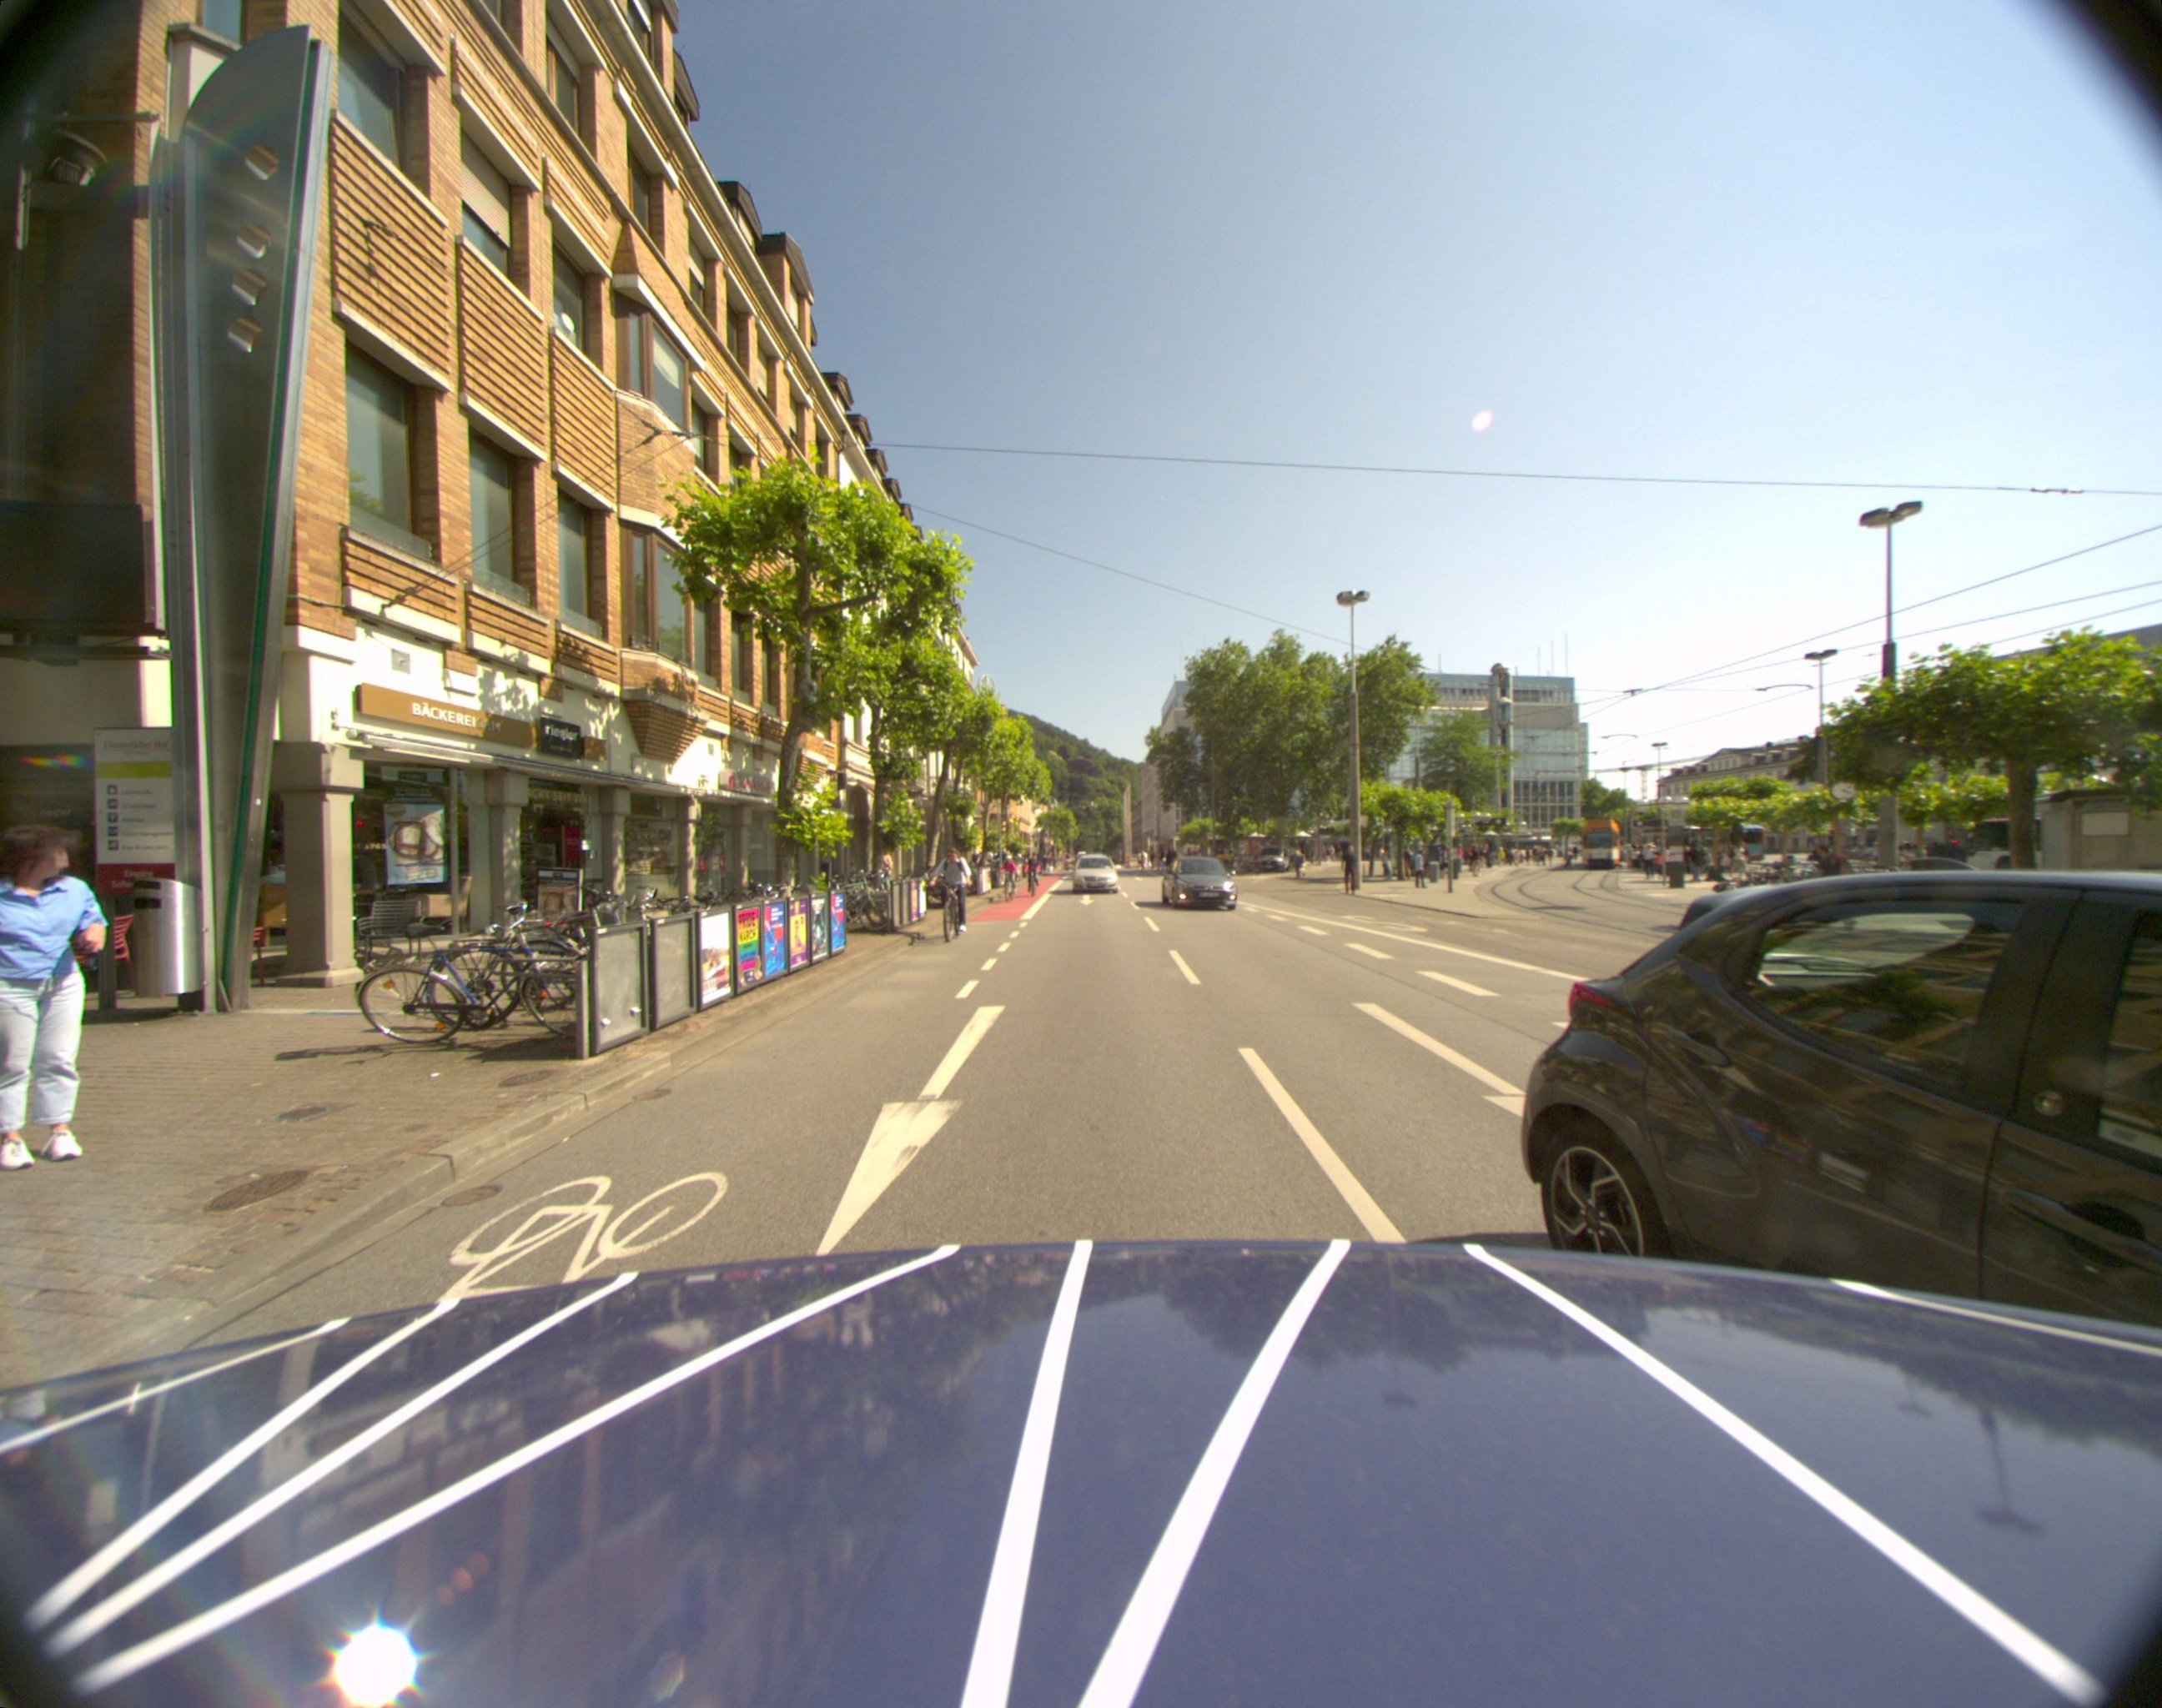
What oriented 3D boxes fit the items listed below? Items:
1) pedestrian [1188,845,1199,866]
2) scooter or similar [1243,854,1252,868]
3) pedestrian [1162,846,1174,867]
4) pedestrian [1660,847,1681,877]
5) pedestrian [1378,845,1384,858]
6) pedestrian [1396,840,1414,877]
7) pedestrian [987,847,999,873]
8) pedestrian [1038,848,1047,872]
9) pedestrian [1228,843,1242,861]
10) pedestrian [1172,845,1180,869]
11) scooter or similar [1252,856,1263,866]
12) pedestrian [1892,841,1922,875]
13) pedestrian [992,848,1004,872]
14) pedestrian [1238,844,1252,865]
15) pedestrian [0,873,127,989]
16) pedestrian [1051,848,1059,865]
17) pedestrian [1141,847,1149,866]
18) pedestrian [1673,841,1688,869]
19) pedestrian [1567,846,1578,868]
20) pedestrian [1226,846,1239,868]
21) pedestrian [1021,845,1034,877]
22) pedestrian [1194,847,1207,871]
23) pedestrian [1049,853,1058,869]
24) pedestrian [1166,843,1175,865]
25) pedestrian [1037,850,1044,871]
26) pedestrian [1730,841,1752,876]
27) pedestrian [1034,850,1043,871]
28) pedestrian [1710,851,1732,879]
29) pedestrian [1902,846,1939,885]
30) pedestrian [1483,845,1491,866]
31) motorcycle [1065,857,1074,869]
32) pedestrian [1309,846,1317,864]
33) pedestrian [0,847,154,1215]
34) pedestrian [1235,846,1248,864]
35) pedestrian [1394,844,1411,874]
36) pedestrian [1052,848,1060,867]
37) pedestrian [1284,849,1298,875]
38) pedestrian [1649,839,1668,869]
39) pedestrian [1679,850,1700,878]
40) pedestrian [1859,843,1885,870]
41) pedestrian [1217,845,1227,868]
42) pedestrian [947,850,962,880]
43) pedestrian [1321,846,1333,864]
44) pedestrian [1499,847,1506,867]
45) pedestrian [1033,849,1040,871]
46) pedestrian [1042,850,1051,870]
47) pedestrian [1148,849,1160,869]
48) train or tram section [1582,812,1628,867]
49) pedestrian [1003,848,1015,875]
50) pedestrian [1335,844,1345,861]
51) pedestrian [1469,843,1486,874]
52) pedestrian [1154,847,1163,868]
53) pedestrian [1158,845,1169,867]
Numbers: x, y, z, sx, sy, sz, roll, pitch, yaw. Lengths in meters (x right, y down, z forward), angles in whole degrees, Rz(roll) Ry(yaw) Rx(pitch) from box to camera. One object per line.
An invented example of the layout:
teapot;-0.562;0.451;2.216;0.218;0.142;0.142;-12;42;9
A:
pedestrian;9.693;0.150;65.376;0.751;1.737;0.666;-3;1;-1
scooter or similar;13.791;0.555;63.057;0.567;1.113;0.539;-2;1;28
pedestrian;6.750;0.196;59.230;0.630;1.639;0.753;-2;1;27
pedestrian;29.161;0.380;37.612;0.626;1.457;0.552;1;0;-22
pedestrian;34.835;-0.268;88.190;0.464;1.464;0.410;-3;1;-2
pedestrian;17.765;0.260;41.647;0.693;1.996;0.564;-2;1;-9
pedestrian;-6.200;0.426;53.593;0.635;1.783;0.776;-3;1;-1
pedestrian;-3.002;0.449;59.088;0.578;1.835;0.717;-3;1;-2
pedestrian;12.467;-0.157;61.495;0.752;1.399;0.782;-3;1;-9
pedestrian;7.460;0.250;59.785;0.517;1.825;0.716;-3;1;8
scooter or similar;13.546;0.534;58.297;0.579;0.644;0.787;-2;1;34
pedestrian;36.218;0.188;33.331;0.681;1.457;0.624;1;0;-15
pedestrian;-6.340;0.448;57.960;0.721;1.772;0.776;-3;1;-1
pedestrian;12.975;0.035;60.046;0.752;1.587;0.782;-3;1;-9
pedestrian;-11.905;0.871;8.820;0.792;1.248;0.640;-3;1;4
pedestrian;-2.689;0.251;78.731;0.651;1.770;0.621;0;2;-13
pedestrian;6.236;0.243;74.420;0.639;1.903;0.733;-3;1;-1
pedestrian;37.040;0.071;46.923;0.559;1.708;0.465;1;0;-22
pedestrian;34.529;0.196;53.348;0.477;1.540;0.451;1;0;-26
pedestrian;12.683;0.233;63.616;0.750;1.737;0.784;-2;1;27
pedestrian;-3.328;0.420;47.123;0.702;1.891;0.776;-3;1;-1
pedestrian;8.793;0.370;55.950;0.643;1.682;0.642;-3;1;-13
pedestrian;-2.522;0.630;68.647;0.672;1.488;0.637;-1;1;-14
pedestrian;7.315;-0.001;62.010;0.595;1.835;0.738;0;1;-1
pedestrian;-3.319;0.518;61.821;0.569;1.675;0.591;0;1;-3
pedestrian;33.219;0.213;38.233;0.561;1.720;0.588;1;0;-22
pedestrian;-3.432;0.517;61.165;0.578;1.675;0.622;-3;1;-2
pedestrian;35.021;0.581;41.581;0.626;1.492;0.679;1;0;-22
pedestrian;32.242;0.445;29.198;0.679;1.457;0.625;1;0;7
pedestrian;29.842;0.083;55.818;0.474;1.540;0.493;2;0;25
motorcycle;-1.145;0.859;74.131;0.736;1.086;1.897;-3;1;1
pedestrian;22.080;0.100;72.257;0.638;1.683;0.753;-2;1;23
pedestrian;-5.064;0.778;3.529;0.696;1.617;0.703;0;1;14
pedestrian;12.862;0.073;60.877;0.752;1.416;0.673;-3;1;-9
pedestrian;19.182;0.288;45.363;0.626;1.784;0.678;1;1;-41
pedestrian;-2.462;0.335;74.526;0.578;1.864;0.680;-1;1;-11
pedestrian;12.585;0.457;45.490;0.624;1.515;0.680;1;0;1
pedestrian;35.451;-0.014;46.670;0.626;1.784;0.679;1;0;-22
pedestrian;34.465;0.564;43.051;0.626;1.588;0.679;1;0;-22
pedestrian;45.705;0.159;43.909;0.681;1.540;0.846;1;0;-26
pedestrian;10.636;0.193;57.209;0.516;1.733;0.518;-3;1;-13
pedestrian;-7.353;0.615;44.245;0.658;1.686;0.676;-3;1;2
pedestrian;23.511;0.108;72.582;0.752;1.737;0.782;-3;1;-9
pedestrian;32.770;0.239;59.040;0.385;1.540;0.412;2;0;25
pedestrian;-3.656;0.464;62.561;0.578;1.775;0.699;0;1;-2
pedestrian;-3.052;0.524;67.347;0.605;1.726;0.647;-3;2;-13
pedestrian;6.620;0.424;68.908;0.876;1.737;0.733;-3;1;-1
train or tram section;39.745;-1.172;57.714;2.615;3.805;9.536;-2;1;34
pedestrian;-4.196;0.435;44.310;0.606;1.529;0.666;-3;1;-1
pedestrian;28.494;-0.174;83.646;0.752;1.737;0.782;-3;1;-9
pedestrian;23.010;0.250;44.110;0.577;1.805;0.605;1;0;0
pedestrian;6.518;0.271;64.115;0.612;1.737;0.752;-2;1;-1
pedestrian;6.603;0.152;60.970;0.537;1.773;0.745;-2;2;35
